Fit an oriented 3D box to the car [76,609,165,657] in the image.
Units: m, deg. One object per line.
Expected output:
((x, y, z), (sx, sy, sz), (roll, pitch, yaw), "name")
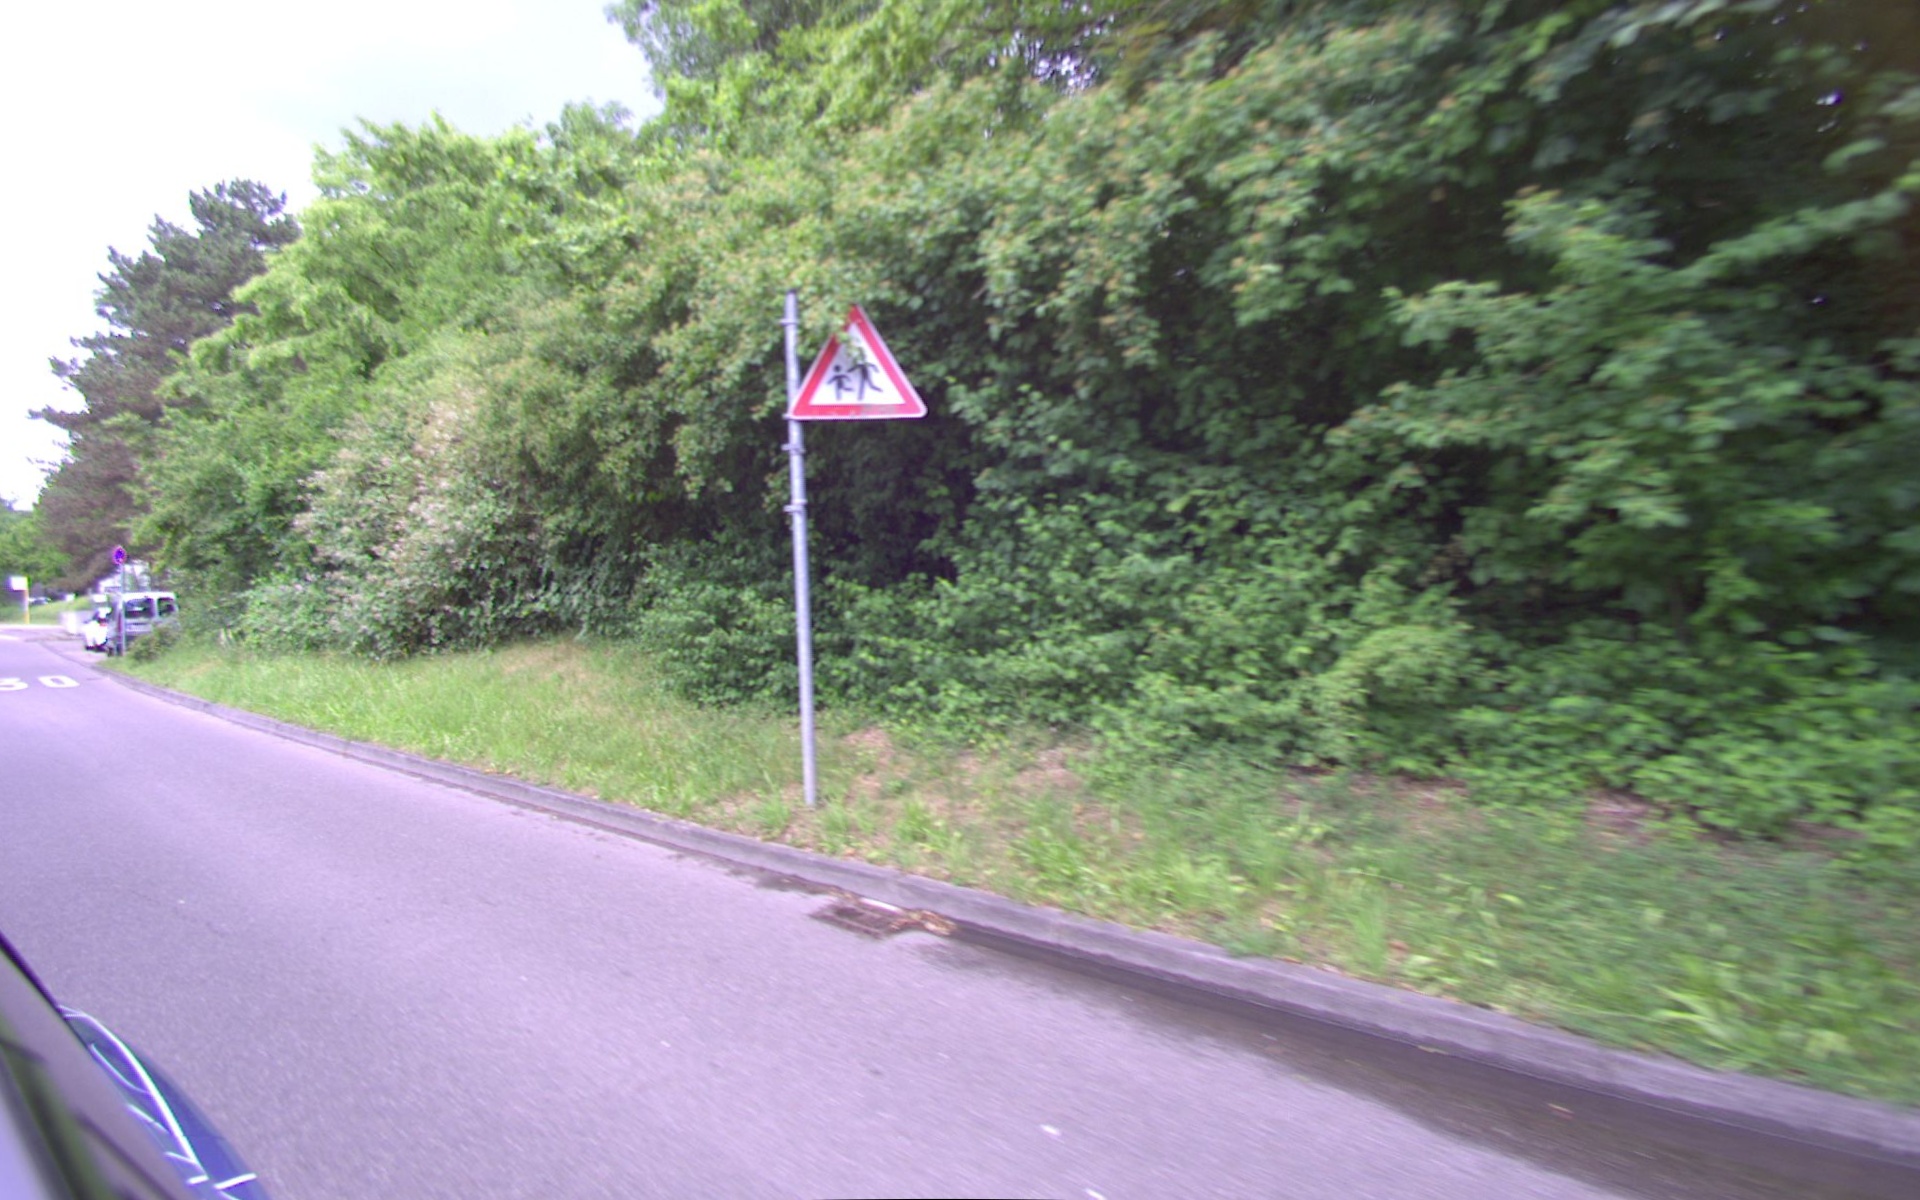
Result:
((-28.300, 1.071, 34.057), (4.373, 1.413, 1.786), (-1, 2, 44), "car")

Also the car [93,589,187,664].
((-23.808, 0.760, 29.346), (1.701, 1.935, 4.108), (-4, 2, -44), "car")
